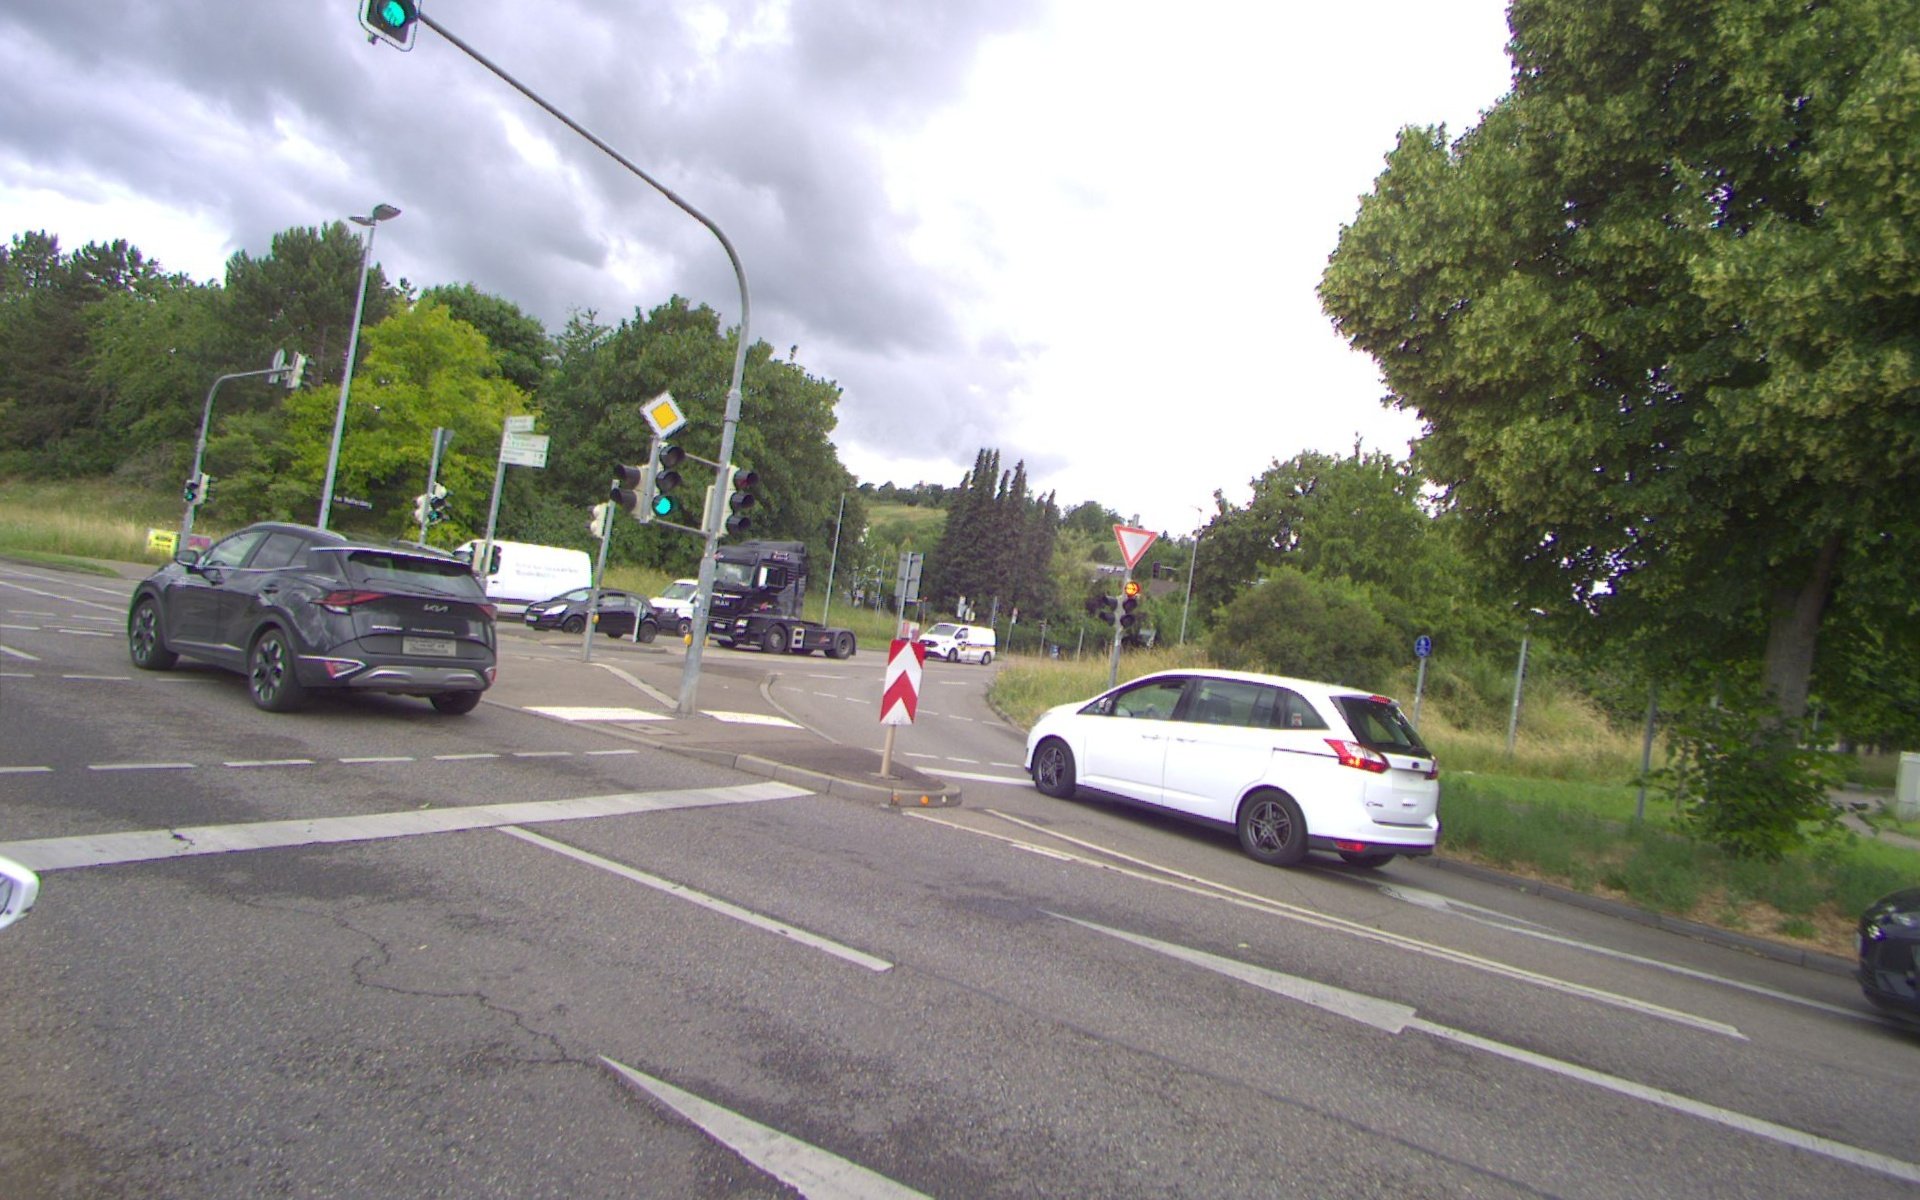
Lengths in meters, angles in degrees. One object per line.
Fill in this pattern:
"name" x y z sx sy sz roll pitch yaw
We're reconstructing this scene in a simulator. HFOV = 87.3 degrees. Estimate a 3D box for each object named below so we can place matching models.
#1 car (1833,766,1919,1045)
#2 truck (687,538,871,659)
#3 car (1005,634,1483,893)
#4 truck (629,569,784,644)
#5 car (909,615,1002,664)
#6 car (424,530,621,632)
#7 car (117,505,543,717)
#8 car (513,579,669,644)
"car" 7.132 1.985 5.366 3.511 1.521 1.605 6 -5 38
"truck" -6.215 0.058 35.411 2.648 3.527 6.004 6 -1 34
"car" 2.602 1.465 10.191 1.751 1.674 4.325 9 -2 -37
"truck" -10.202 0.340 41.073 2.128 2.255 6.028 6 -2 35
"car" -0.168 2.038 51.129 1.970 1.927 4.948 6 -3 37
"car" -14.776 -0.558 34.422 1.968 2.660 5.814 6 -2 34
"car" -6.289 0.075 9.938 4.149 1.547 1.797 6 -2 32
"car" -10.529 0.378 28.941 1.669 1.353 3.882 6 -3 34
